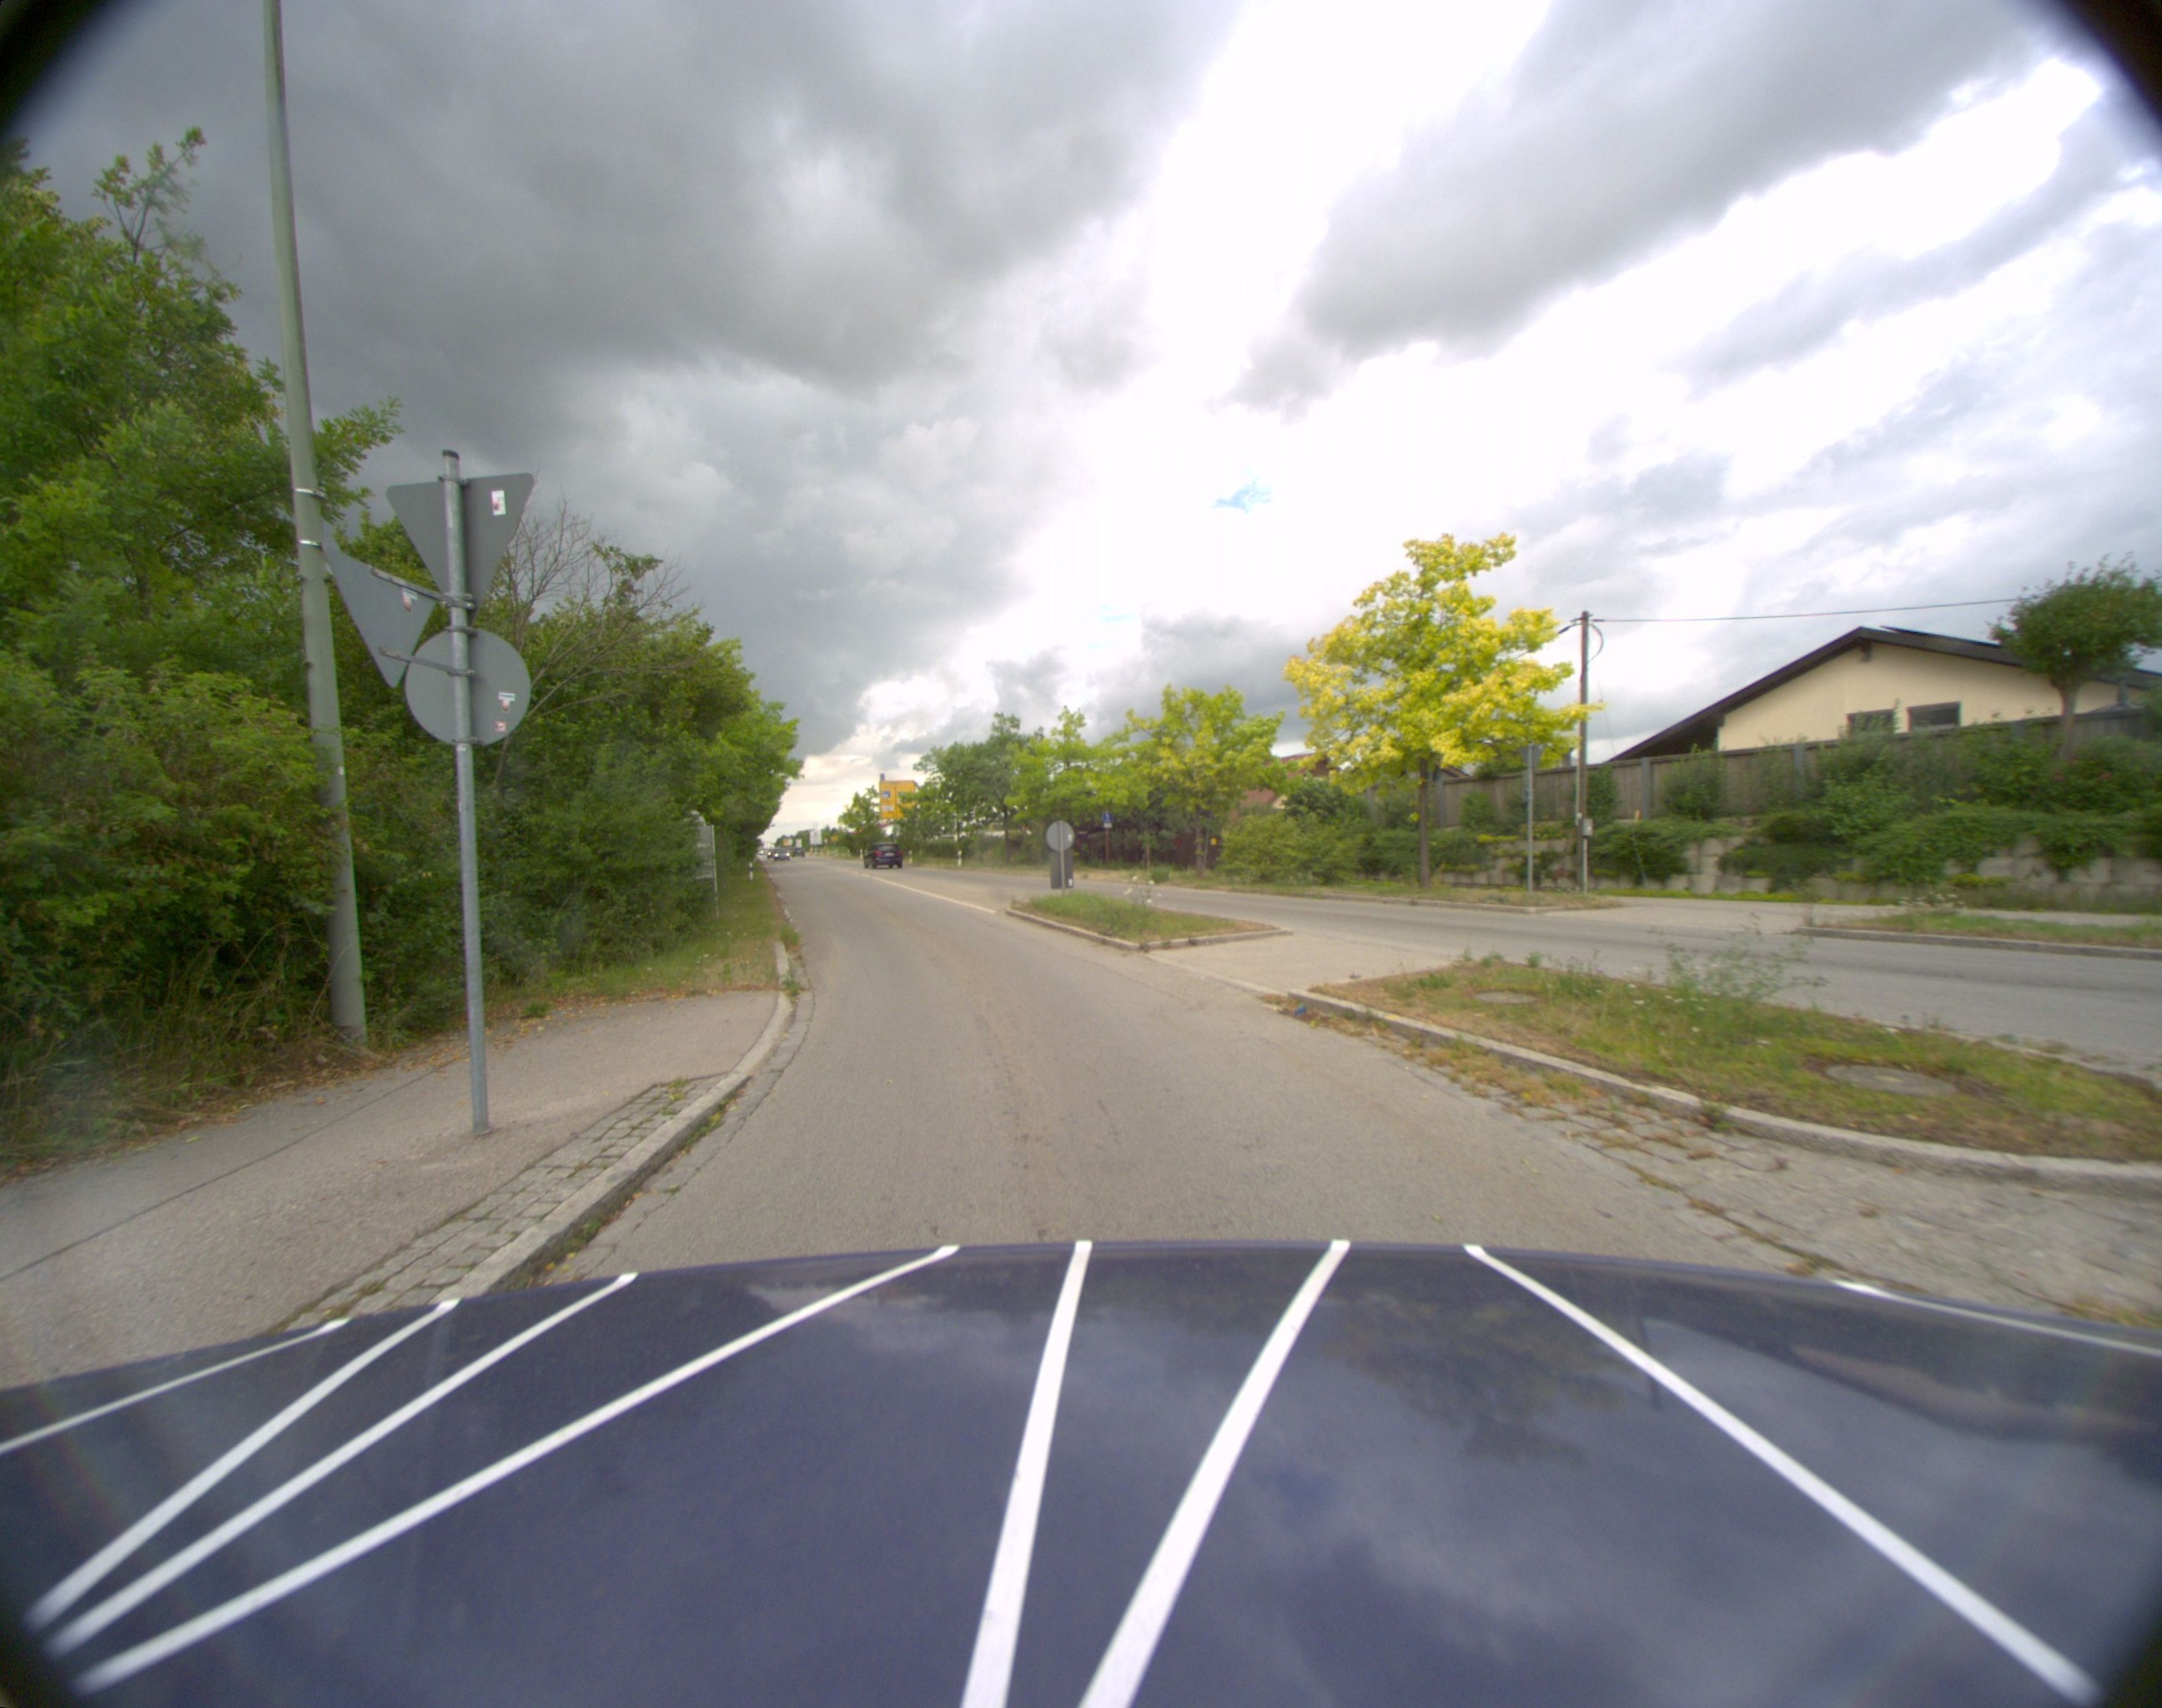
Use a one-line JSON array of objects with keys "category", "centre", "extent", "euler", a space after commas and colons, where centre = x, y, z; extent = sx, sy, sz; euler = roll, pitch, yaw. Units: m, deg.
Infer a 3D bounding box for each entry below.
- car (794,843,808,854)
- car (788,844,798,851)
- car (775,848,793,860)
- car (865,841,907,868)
[{"category": "car", "centre": [-42.719, -0.854, 115.703], "extent": [1.741, 1.526, 4.086], "euler": [-1, 1, -23]}, {"category": "car", "centre": [-64.092, -1.540, 169.120], "extent": [1.824, 1.485, 4.195], "euler": [-2, 1, -23]}, {"category": "car", "centre": [-36.086, -0.005, 92.178], "extent": [1.872, 1.352, 3.818], "euler": [-3, 2, -23]}, {"category": "car", "centre": [-12.200, -0.002, 47.385], "extent": [1.746, 1.576, 4.346], "euler": [-1, 1, -25]}]
